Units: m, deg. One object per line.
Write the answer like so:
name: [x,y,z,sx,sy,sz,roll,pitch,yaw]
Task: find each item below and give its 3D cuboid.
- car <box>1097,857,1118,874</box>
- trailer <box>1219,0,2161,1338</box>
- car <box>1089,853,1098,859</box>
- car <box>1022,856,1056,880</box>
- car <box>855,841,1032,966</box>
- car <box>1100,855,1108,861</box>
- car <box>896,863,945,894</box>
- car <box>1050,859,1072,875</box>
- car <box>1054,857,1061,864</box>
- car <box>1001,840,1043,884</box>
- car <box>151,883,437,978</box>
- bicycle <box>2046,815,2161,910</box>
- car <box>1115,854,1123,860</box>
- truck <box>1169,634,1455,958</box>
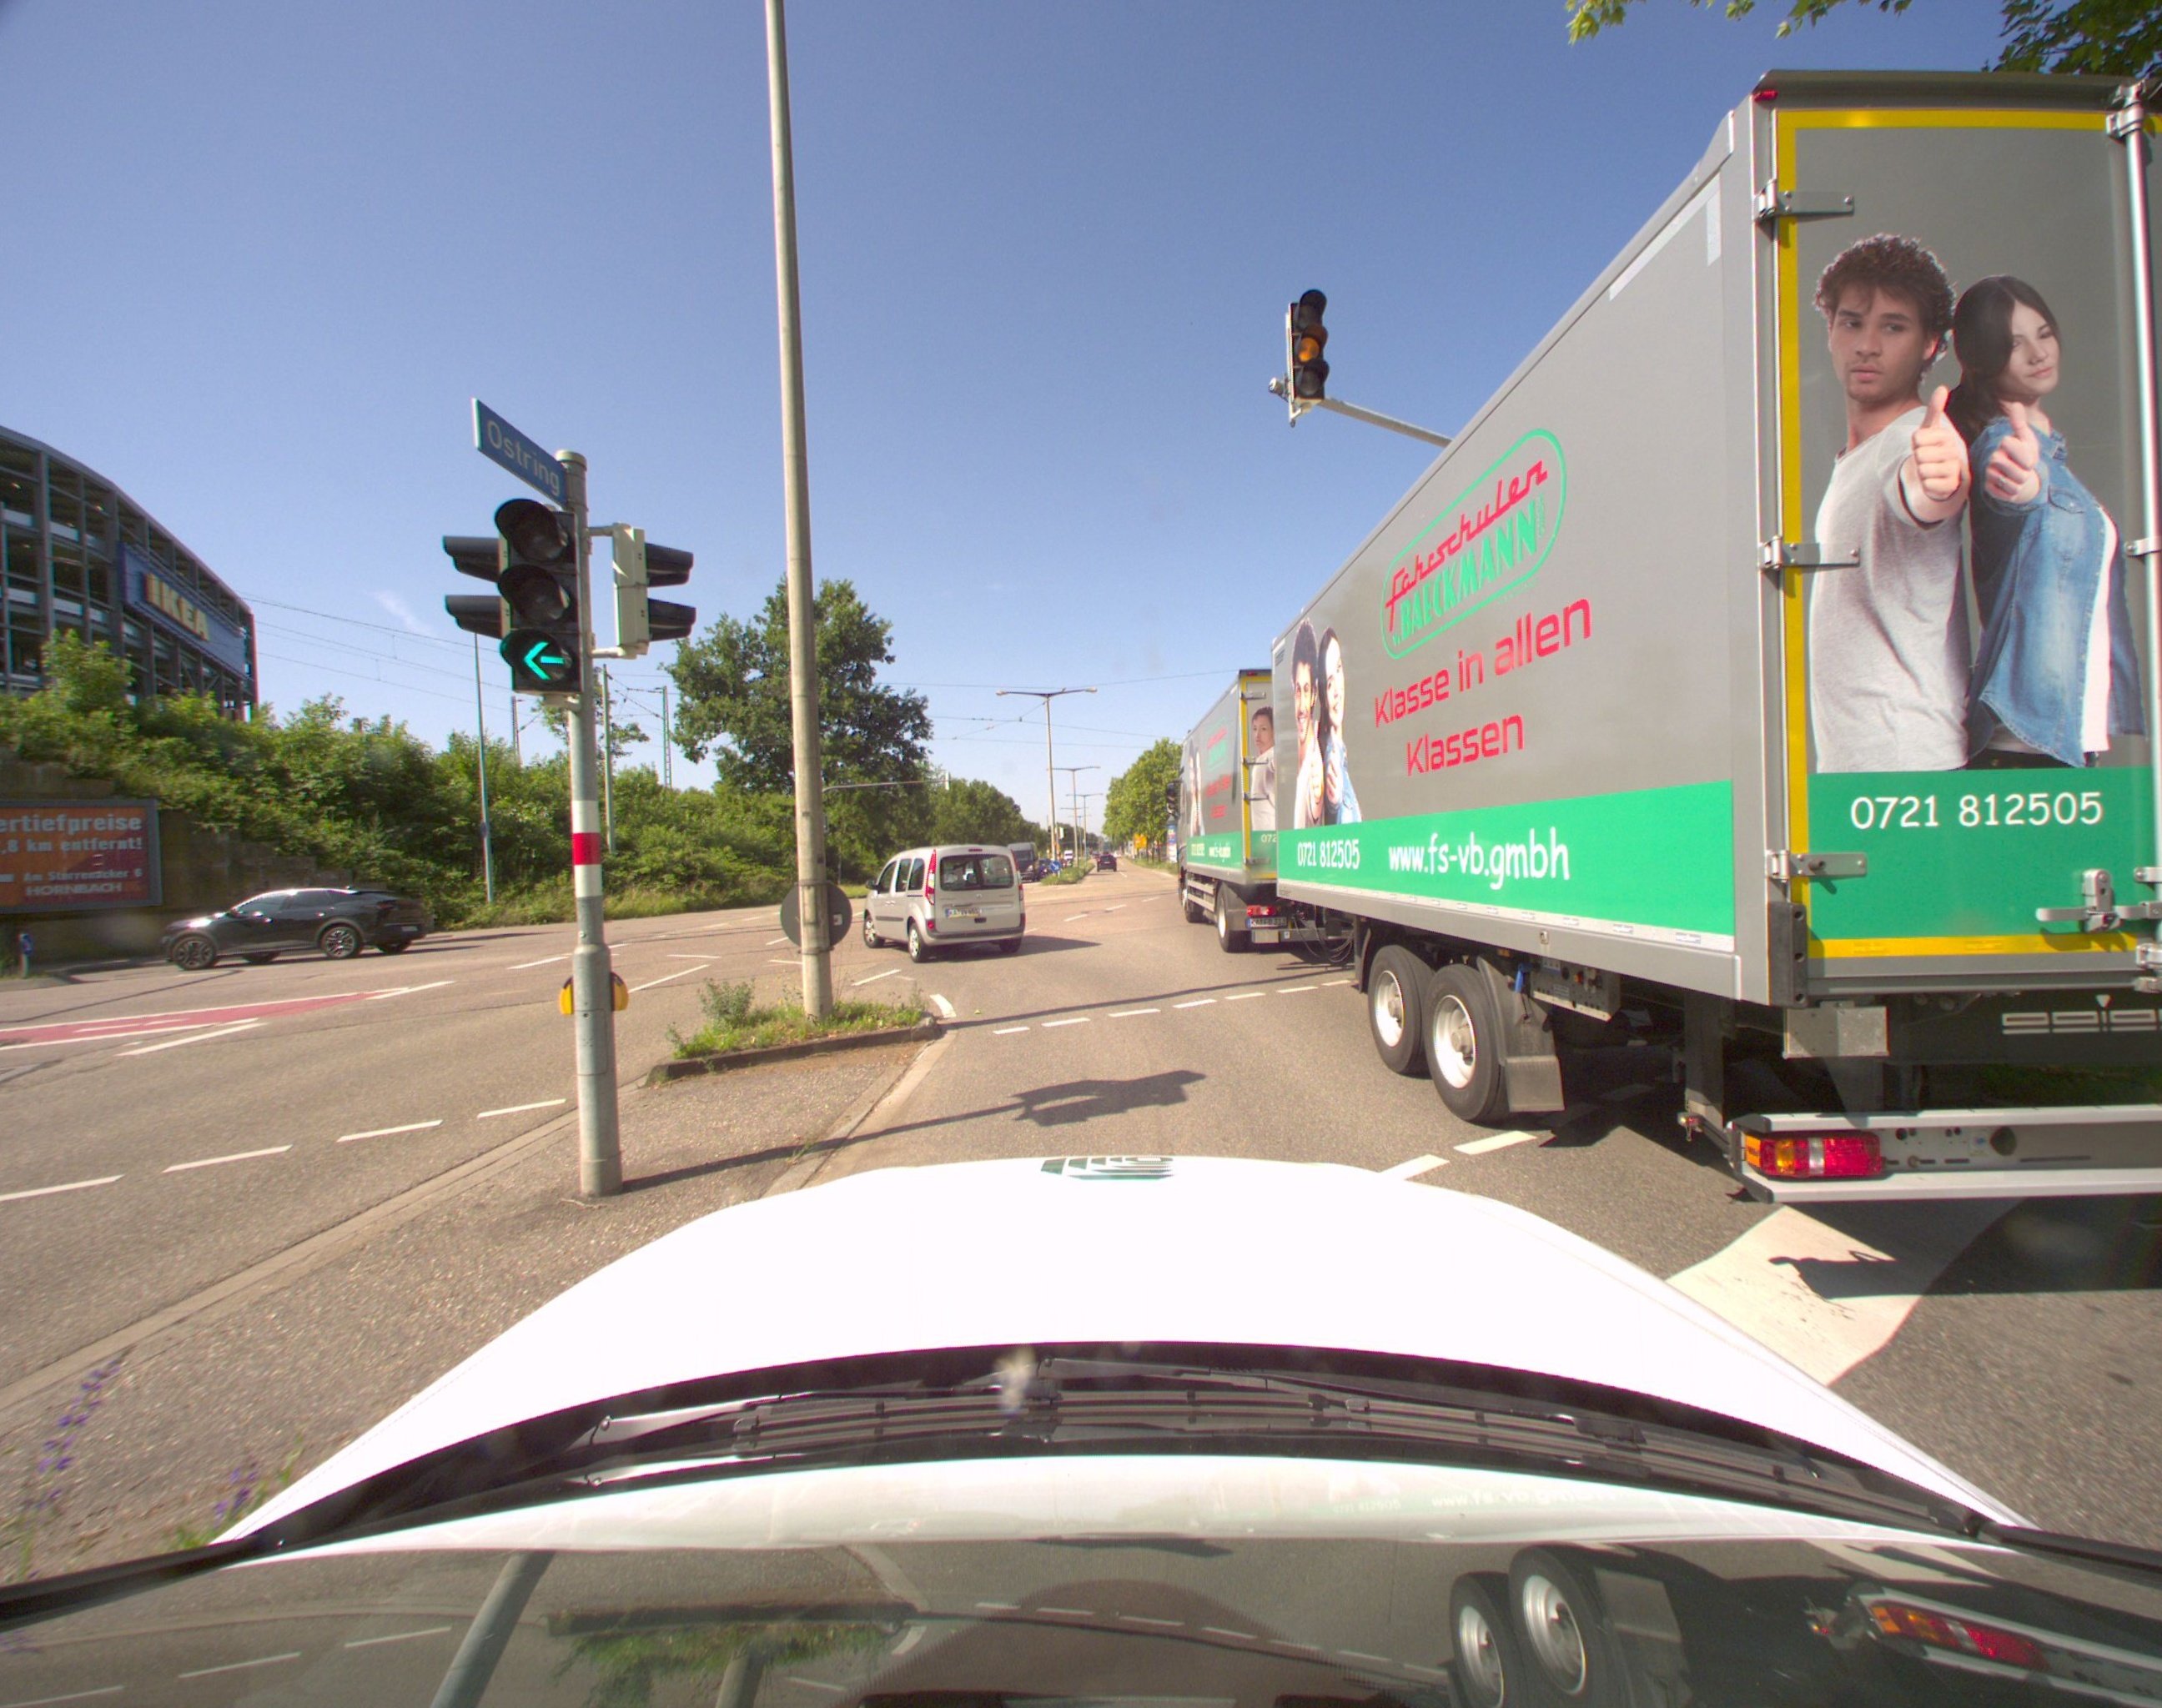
car: [2.603,1.118,79.087,1.985,1.585,4.459,-1,-1,3]
trailer: [3.052,-0.616,6.150,2.726,3.877,7.737,-3,-1,1]
car: [3.319,0.462,216.579,1.985,1.585,4.459,-1,-1,3]
car: [-3.071,1.008,59.854,1.985,1.585,4.003,-4,-1,3]
car: [-2.531,0.749,14.162,1.797,1.838,3.962,-1,-1,-29]
car: [6.228,1.073,216.718,1.985,1.585,4.459,-1,-1,3]
car: [-9.472,1.444,48.302,1.904,1.641,3.739,-3,-1,2]
car: [-2.115,1.346,86.360,1.985,1.585,4.003,-1,-1,3]
car: [-6.932,1.987,238.561,1.881,2.014,4.002,0,-1,2]
car: [-3.777,0.533,52.668,1.986,2.607,5.136,-3,-1,2]
car: [-17.687,1.665,18.545,4.216,1.662,1.930,-3,0,-11]
bicycle: [13.602,0.076,10.208,1.886,1.139,0.498,-4,-2,19]
car: [10.479,0.921,224.830,1.985,1.585,4.459,-1,-1,3]
truck: [3.311,-0.673,14.395,2.719,3.889,8.726,-2,-1,2]
